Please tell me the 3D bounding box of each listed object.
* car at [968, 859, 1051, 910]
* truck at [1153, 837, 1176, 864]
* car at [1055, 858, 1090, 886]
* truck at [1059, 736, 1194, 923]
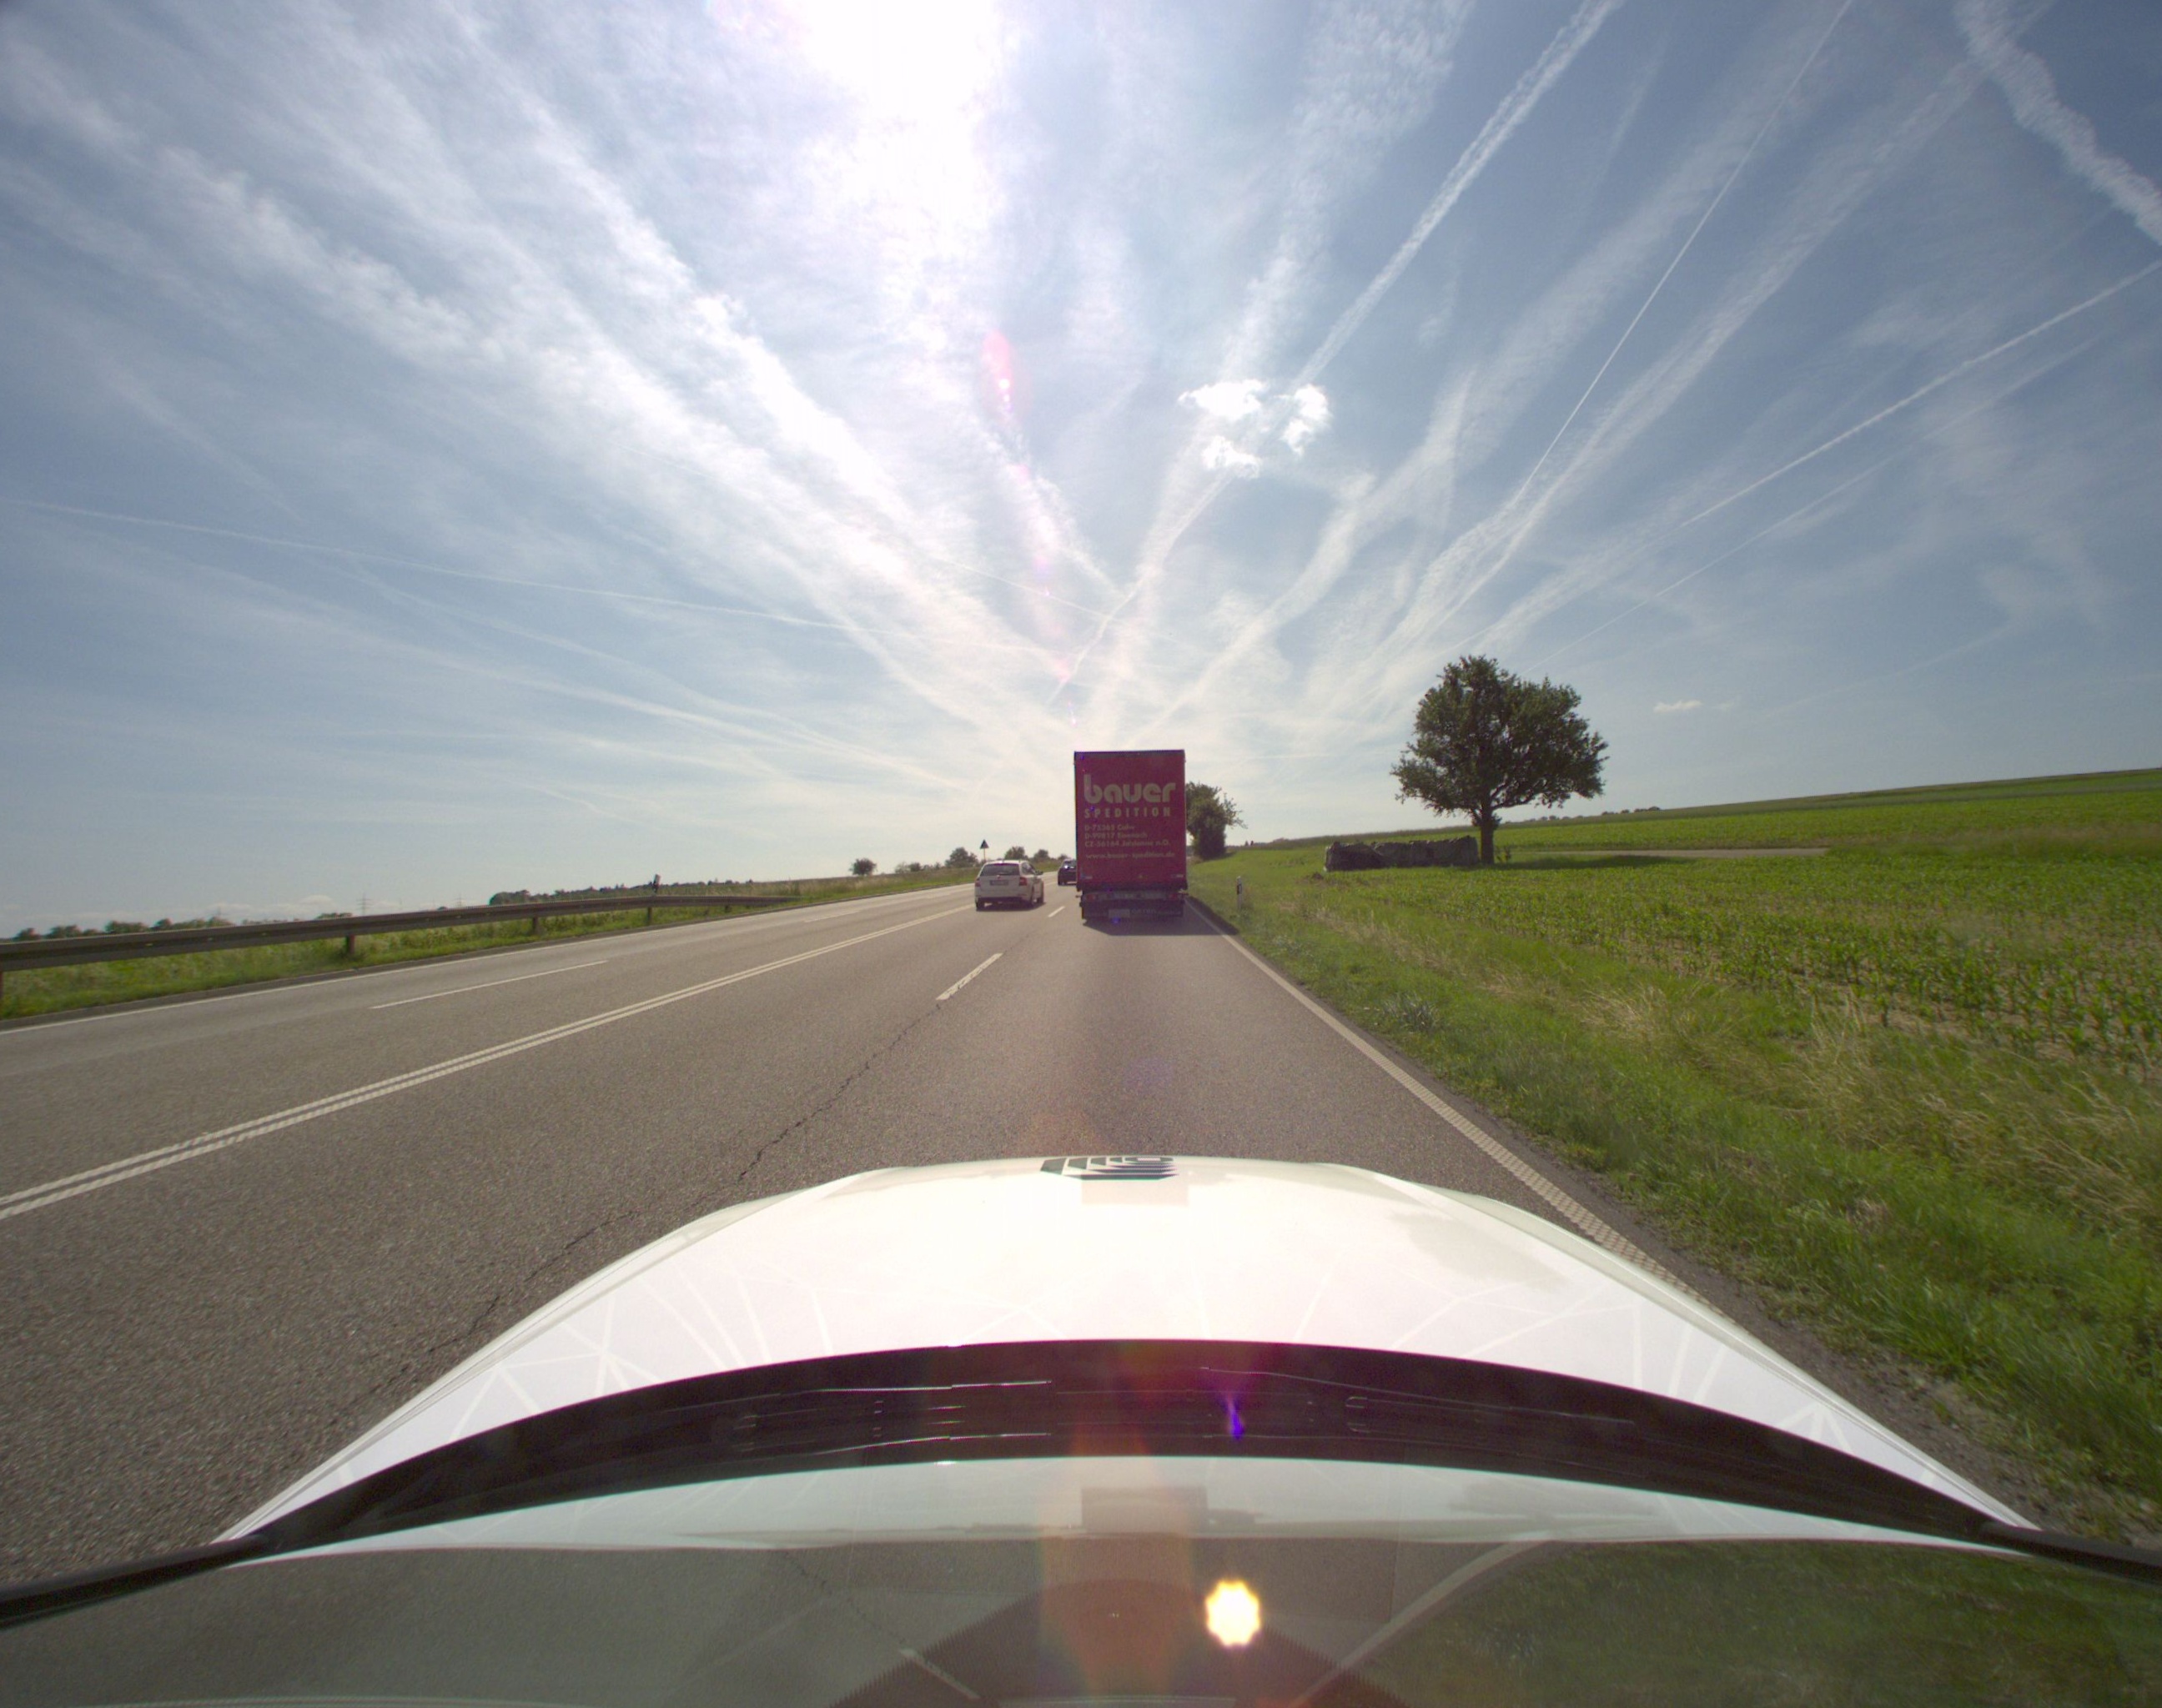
[{"bbox_3d":[-2.165,0.899,26.086,1.812,1.472,4.795,-1,0,5],"label":"car"},{"bbox_3d":[13.162,-0.495,127.022,3.030,3.910,18.435,-2,0,7],"label":"truck"},{"bbox_3d":[-0.432,0.955,45.532,1.698,1.472,4.814,-1,0,2],"label":"car"},{"bbox_3d":[1.575,-0.481,26.623,2.994,4.180,16.730,0,0,4],"label":"truck"}]
